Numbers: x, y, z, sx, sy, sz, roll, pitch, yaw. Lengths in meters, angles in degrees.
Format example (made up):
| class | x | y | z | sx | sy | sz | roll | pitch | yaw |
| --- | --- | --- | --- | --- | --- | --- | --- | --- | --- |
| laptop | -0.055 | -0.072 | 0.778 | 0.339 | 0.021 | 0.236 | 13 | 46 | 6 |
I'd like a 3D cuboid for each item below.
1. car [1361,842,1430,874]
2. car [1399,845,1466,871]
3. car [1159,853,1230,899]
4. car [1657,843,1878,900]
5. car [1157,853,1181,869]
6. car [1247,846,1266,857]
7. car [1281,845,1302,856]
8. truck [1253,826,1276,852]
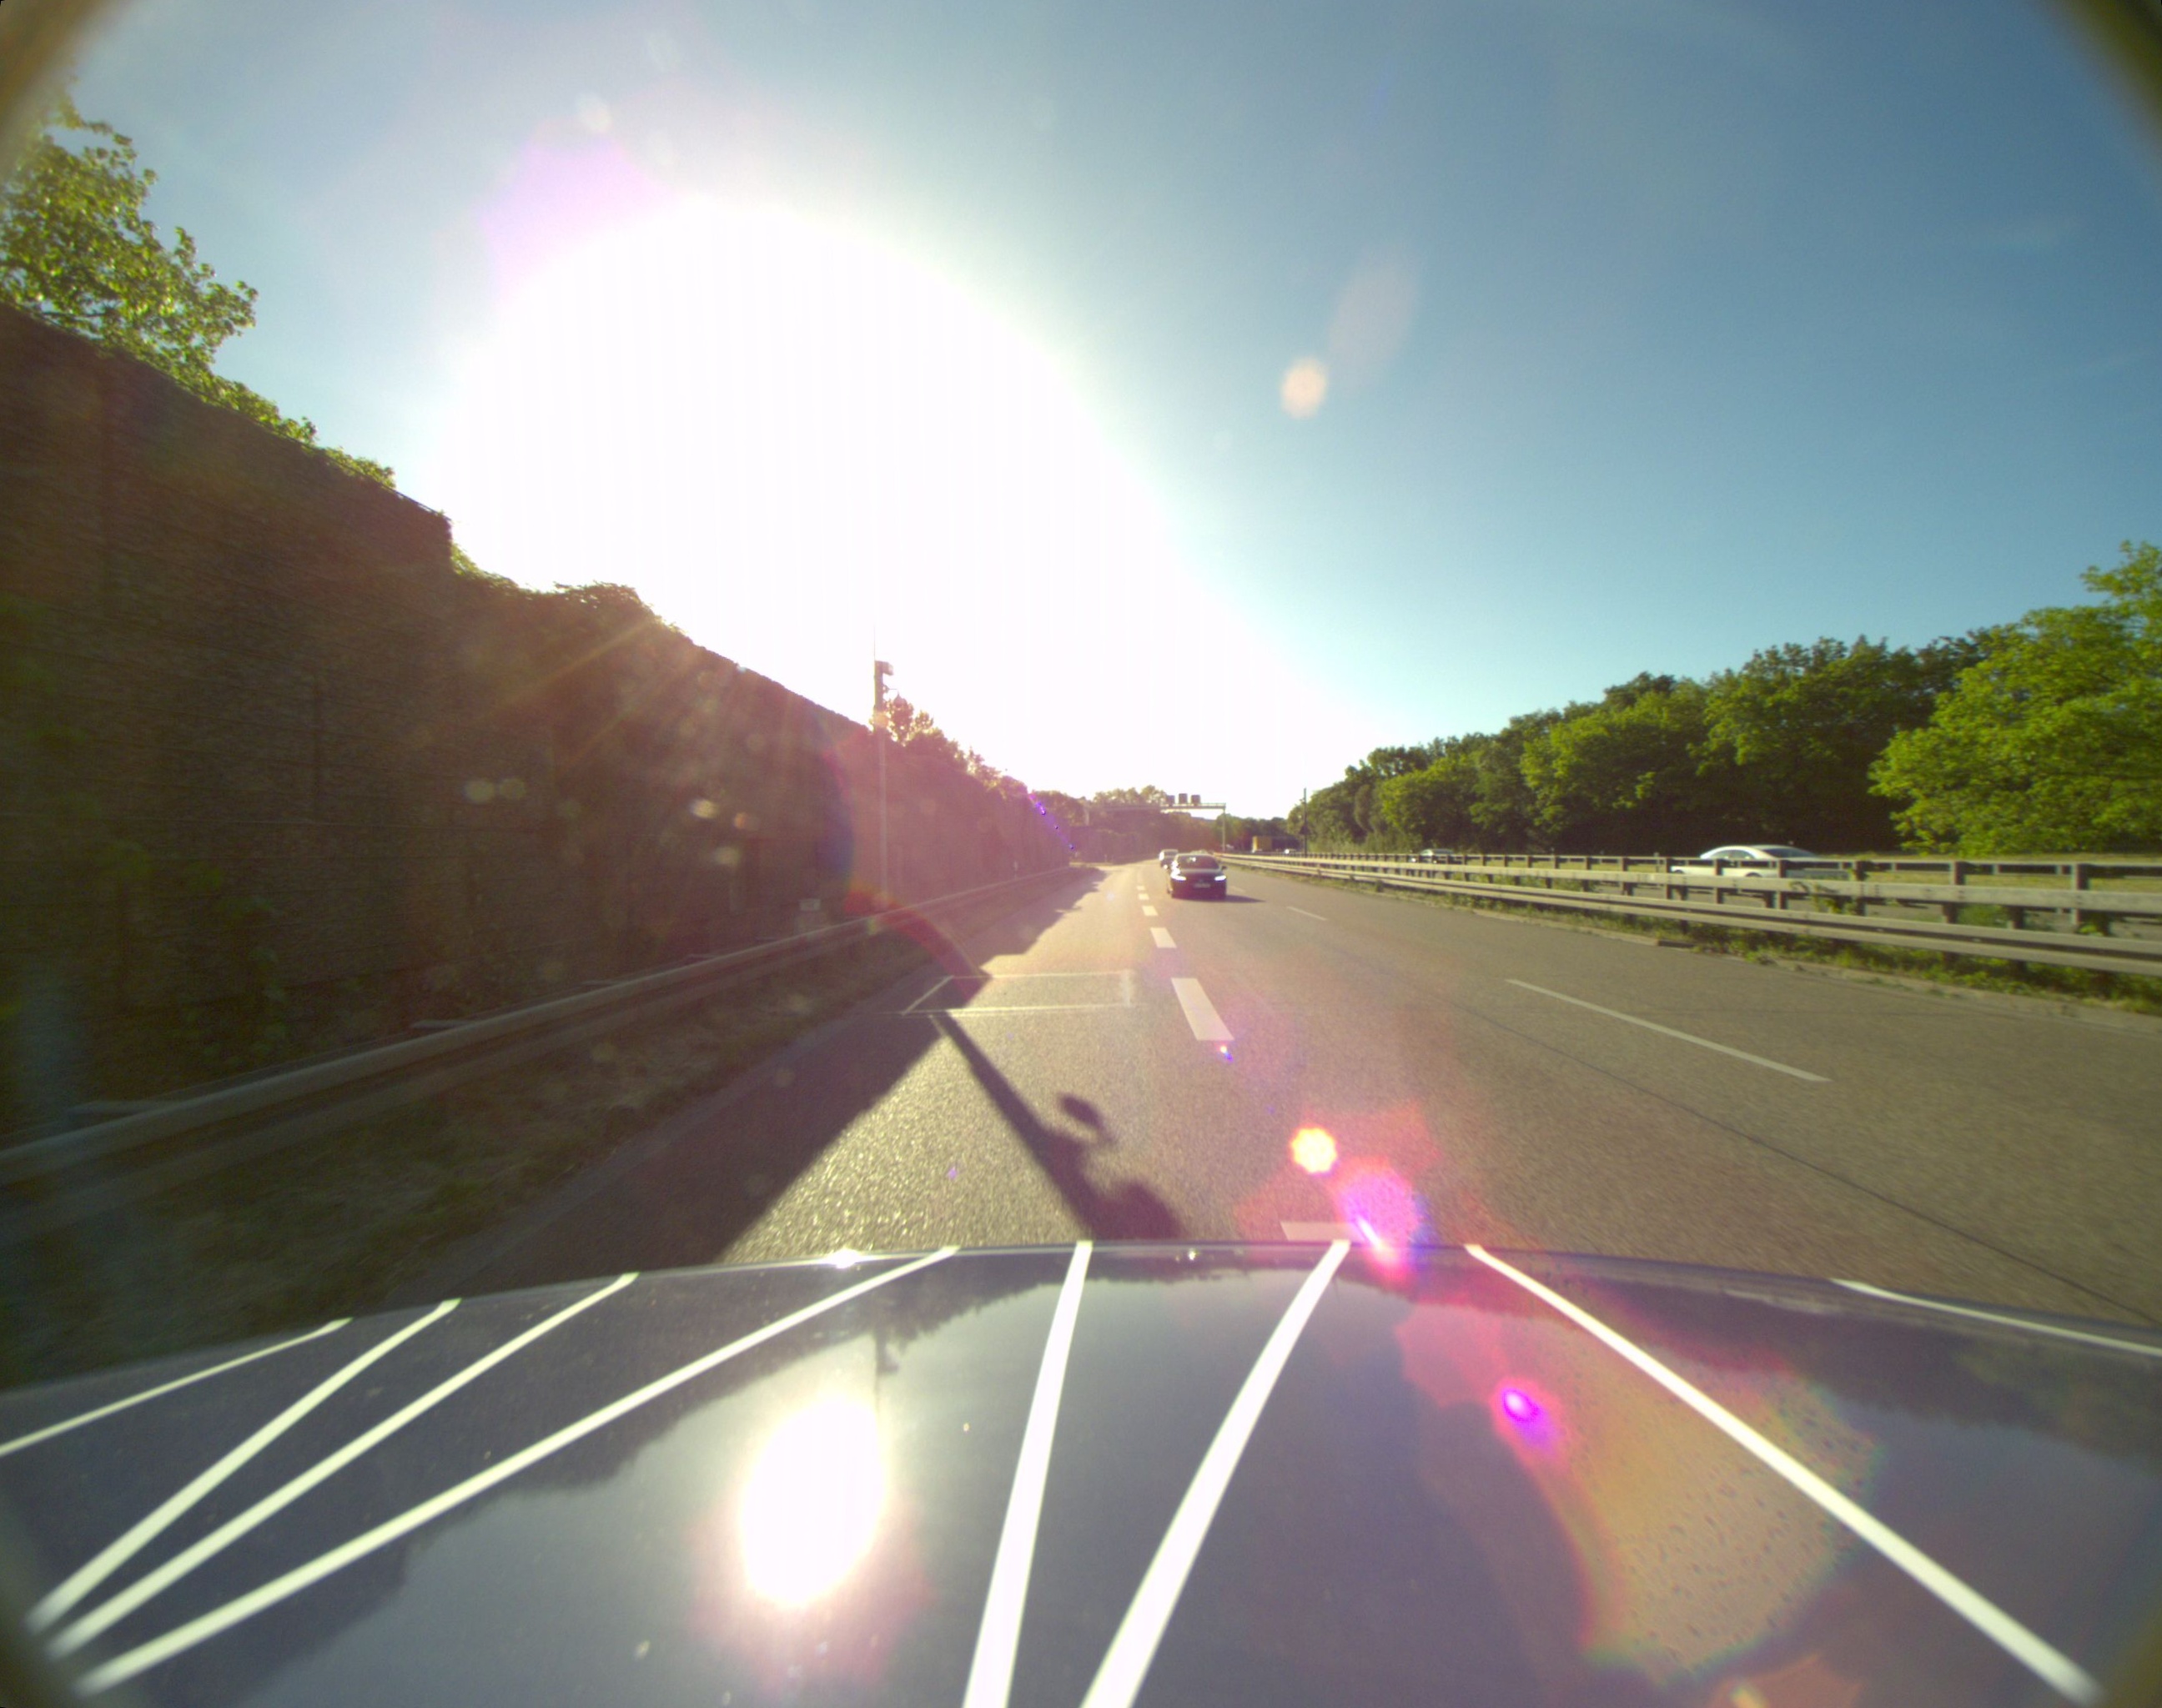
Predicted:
| class | x | y | z | sx | sy | sz | roll | pitch | yaw |
| --- | --- | --- | --- | --- | --- | --- | --- | --- | --- |
| car | 17.569 | 0.183 | 42.695 | 1.998 | 1.631 | 4.721 | -1 | 1 | 2 |
| car | 21.217 | 0.214 | 46.079 | 1.998 | 1.406 | 4.831 | -1 | 1 | 3 |
| car | 3.805 | 0.676 | 26.225 | 1.998 | 1.406 | 4.831 | 0 | 1 | 3 |
| car | 19.111 | 0.423 | 21.550 | 1.998 | 1.406 | 4.831 | -1 | 1 | 2 |
| car | 8.260 | 0.653 | 71.622 | 1.998 | 1.406 | 4.832 | -1 | 1 | 4 |
| car | 23.281 | -0.315 | 101.180 | 1.997 | 1.406 | 4.833 | -1 | 1 | 8 |
| car | 27.320 | -0.469 | 98.804 | 1.997 | 1.406 | 4.833 | -1 | 1 | 8 |
| truck | 32.993 | -2.723 | 136.961 | 3.171 | 4.394 | 8.023 | -3 | 1 | 10 |
